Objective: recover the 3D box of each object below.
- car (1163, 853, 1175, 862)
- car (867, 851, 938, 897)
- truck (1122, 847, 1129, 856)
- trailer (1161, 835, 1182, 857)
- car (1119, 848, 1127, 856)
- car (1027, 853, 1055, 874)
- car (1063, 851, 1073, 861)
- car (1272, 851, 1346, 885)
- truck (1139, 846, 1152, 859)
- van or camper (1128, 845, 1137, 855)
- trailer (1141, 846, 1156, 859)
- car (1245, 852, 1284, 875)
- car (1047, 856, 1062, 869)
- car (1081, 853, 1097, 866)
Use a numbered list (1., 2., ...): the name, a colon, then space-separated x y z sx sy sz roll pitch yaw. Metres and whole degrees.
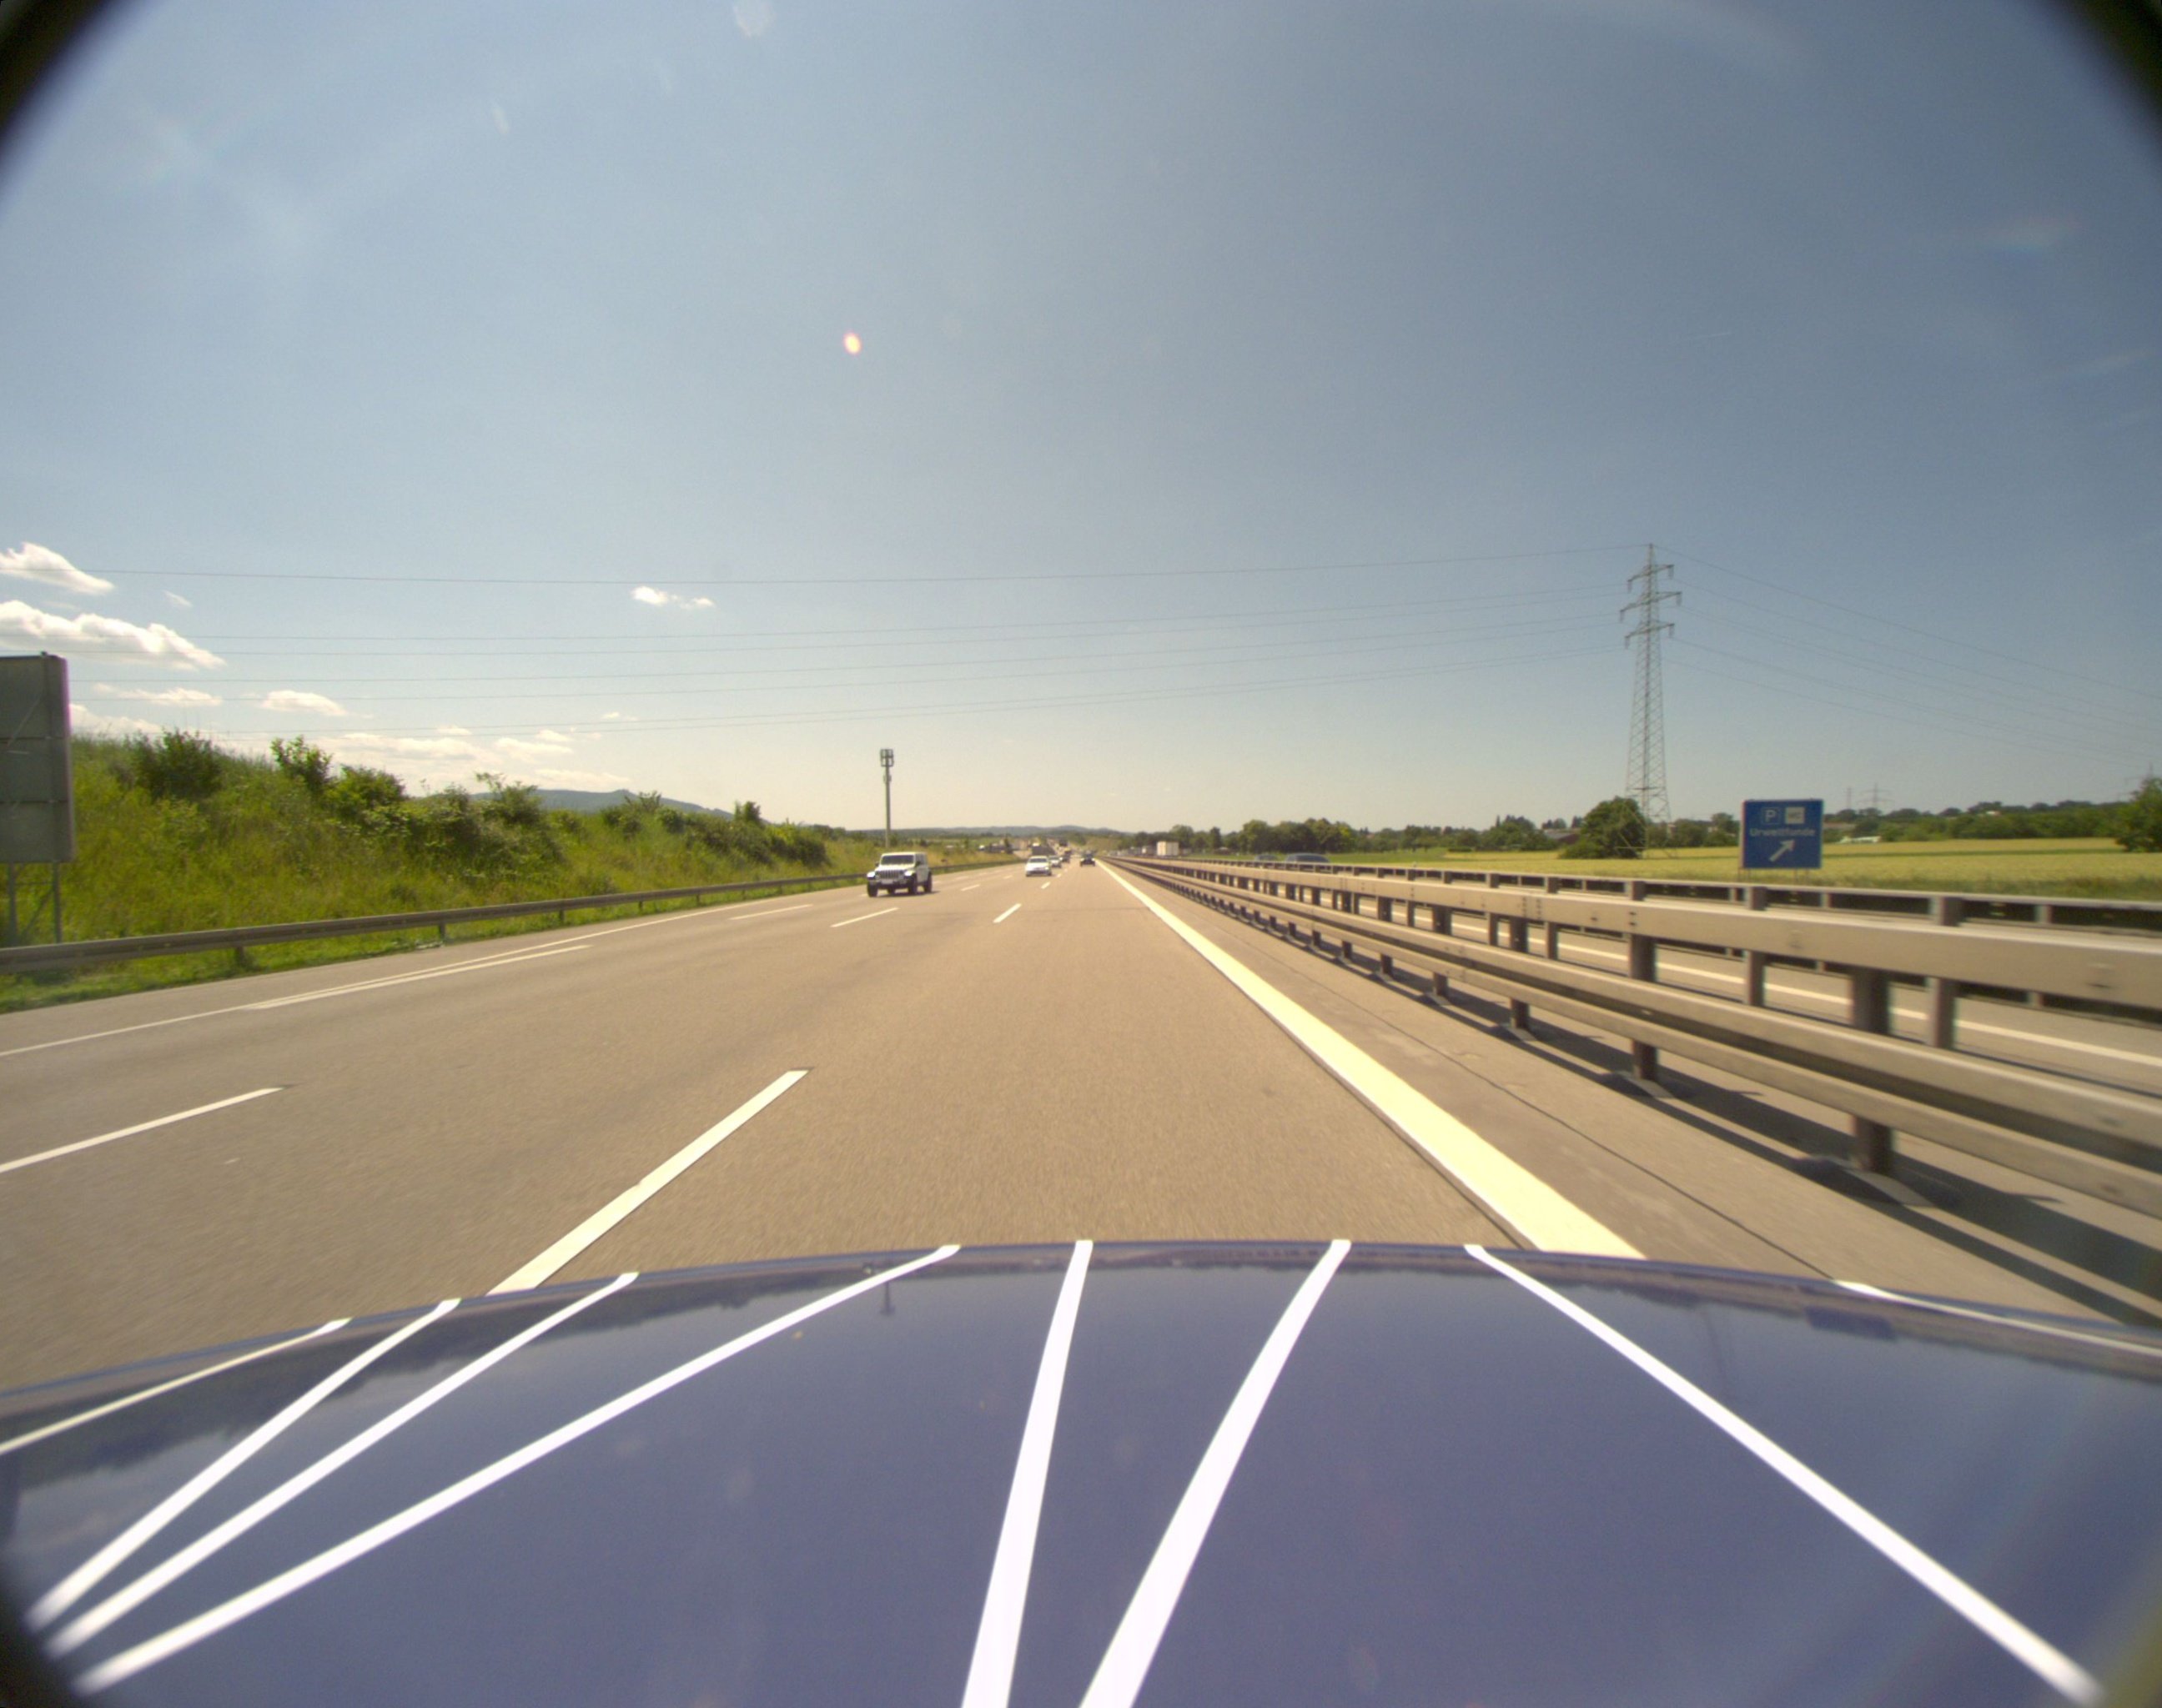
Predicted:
1. car: 14.054 0.538 121.372 1.486 1.417 3.609 1 0 -1
2. car: -7.684 0.811 33.096 2.040 1.794 4.250 -2 0 0
3. truck: 15.506 -0.996 265.224 2.255 2.992 7.427 1 1 1
4. trailer: 18.260 -1.615 154.185 2.840 4.023 11.664 -2 1 0
5. car: 11.138 -0.489 200.688 1.989 1.998 4.649 1 0 0
6. car: -2.931 0.677 56.682 1.780 1.425 4.690 -2 1 0
7. car: -2.342 0.353 134.134 1.751 1.559 3.999 -2 1 -1
8. car: 10.768 0.606 36.342 1.812 1.431 5.283 2 1 -1
9. truck: 18.909 -0.586 223.296 2.725 3.669 6.054 -2 1 -2
10. van or camper: 16.150 -1.231 237.282 2.346 3.147 7.401 1 0 1
11. trailer: 19.187 -0.518 217.391 2.714 3.671 11.355 -2 1 -2
12. car: 13.036 0.648 54.254 1.675 1.432 4.565 1 1 0
13. car: -3.011 0.937 86.937 1.634 1.381 3.999 -2 1 -1
14. car: 0.960 0.677 93.519 1.751 1.439 3.999 -2 0 -1
